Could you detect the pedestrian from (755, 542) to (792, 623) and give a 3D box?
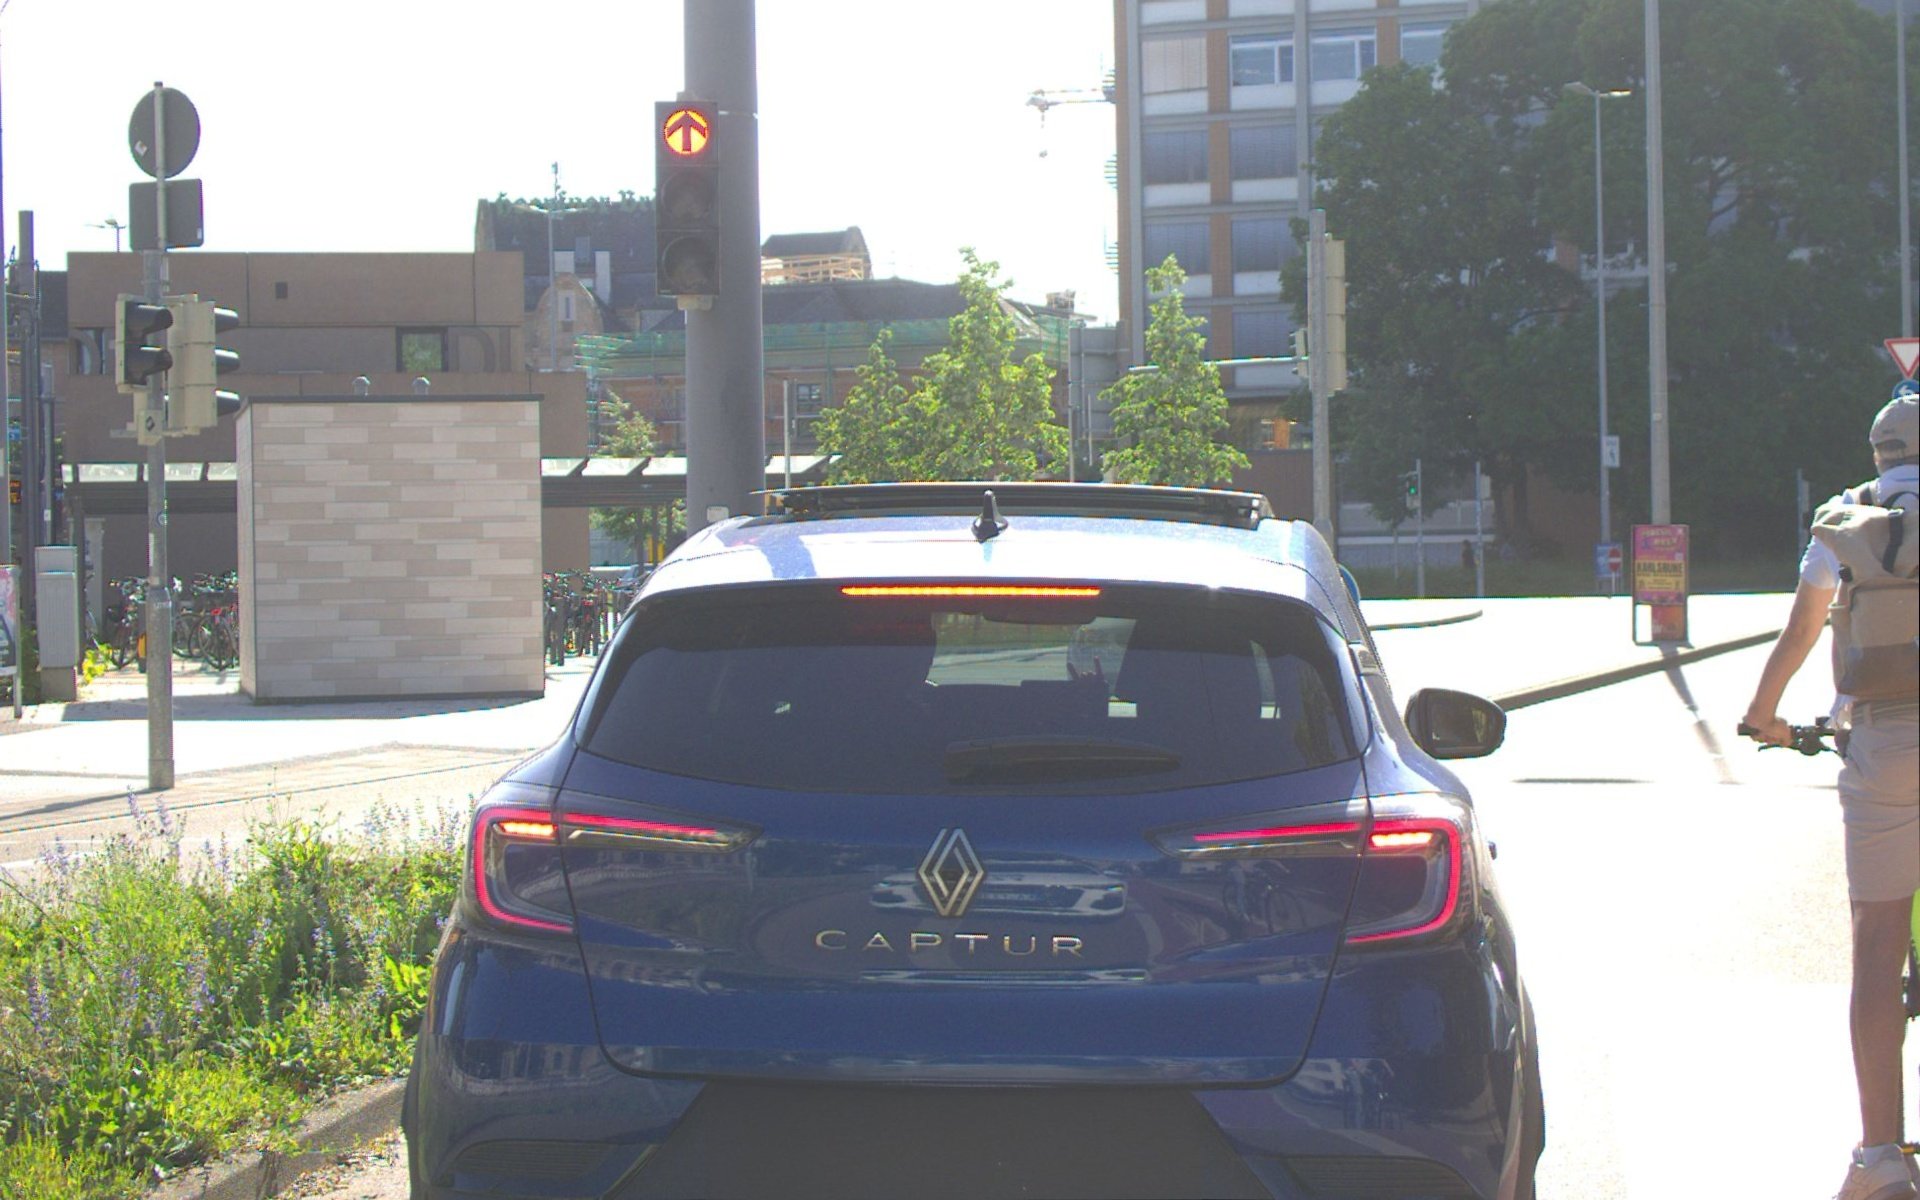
[{"bbox_3d":[-4.285,-0.402,79.119,0.726,1.850,0.702,0,0,8],"label":"pedestrian"}]

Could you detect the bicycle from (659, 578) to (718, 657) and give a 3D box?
[{"bbox_3d":[-3.412,0.217,43.115,0.580,0.958,2.059,0,0,-9],"label":"bicycle"}]

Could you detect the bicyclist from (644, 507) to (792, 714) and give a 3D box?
[{"bbox_3d":[-1.965,0.078,28.048,0.880,1.639,1.060,-1,0,14],"label":"bicyclist"}]

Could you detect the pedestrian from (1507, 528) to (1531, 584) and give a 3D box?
[{"bbox_3d":[16.733,-1.302,102.944,0.561,1.664,0.475,0,-1,37],"label":"pedestrian"}]

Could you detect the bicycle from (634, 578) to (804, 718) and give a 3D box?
[{"bbox_3d":[-1.942,0.370,28.045,0.773,1.077,2.034,-1,0,14],"label":"bicycle"}]

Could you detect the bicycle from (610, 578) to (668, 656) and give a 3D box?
[{"bbox_3d":[-4.024,0.214,43.027,0.580,0.958,2.059,0,0,-9],"label":"bicycle"}]

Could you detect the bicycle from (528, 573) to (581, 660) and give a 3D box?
[{"bbox_3d":[-5.041,0.209,42.652,0.580,1.054,1.817,0,0,-9],"label":"bicycle"}]

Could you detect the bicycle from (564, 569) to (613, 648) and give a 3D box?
[{"bbox_3d":[-5.264,0.123,48.686,0.580,1.084,2.059,0,0,-9],"label":"bicycle"}]

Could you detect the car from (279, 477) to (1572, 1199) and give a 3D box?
[{"bbox_3d":[0.097,0.600,6.677,1.823,1.594,3.658,1,1,5],"label":"car"}]

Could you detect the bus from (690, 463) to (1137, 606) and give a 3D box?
[{"bbox_3d":[-1.362,-1.549,86.823,12.434,3.384,2.876,0,0,40],"label":"bus"}]

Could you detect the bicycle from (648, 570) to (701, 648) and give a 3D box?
[{"bbox_3d":[-4.055,0.128,48.758,0.580,1.084,2.059,0,0,-9],"label":"bicycle"}]

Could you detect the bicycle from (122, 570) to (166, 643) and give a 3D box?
[{"bbox_3d":[-12.380,0.101,52.210,0.565,1.090,2.030,0,0,-11],"label":"bicycle"}]

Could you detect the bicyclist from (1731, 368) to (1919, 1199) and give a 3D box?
[{"bbox_3d":[2.115,0.378,7.660,0.664,1.741,1.005,0,1,7],"label":"bicyclist"}]

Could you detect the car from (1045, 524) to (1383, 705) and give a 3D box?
[{"bbox_3d":[2.301,0.089,30.142,1.802,1.388,4.089,-1,2,21],"label":"car"}]

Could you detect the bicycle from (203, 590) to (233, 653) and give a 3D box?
[{"bbox_3d":[-11.357,0.328,52.645,0.421,0.934,1.379,1,0,-11],"label":"bicycle"}]

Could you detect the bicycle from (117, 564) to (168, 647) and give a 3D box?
[{"bbox_3d":[-10.907,0.077,45.900,0.565,1.090,2.030,0,0,-11],"label":"bicycle"}]

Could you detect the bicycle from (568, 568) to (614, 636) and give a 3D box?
[{"bbox_3d":[-6.028,0.034,56.160,0.580,1.084,1.872,0,0,-11],"label":"bicycle"}]

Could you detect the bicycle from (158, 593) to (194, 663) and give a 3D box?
[{"bbox_3d":[-10.858,0.382,47.623,0.421,0.934,1.306,1,0,-15],"label":"bicycle"}]

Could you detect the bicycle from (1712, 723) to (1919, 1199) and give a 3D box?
[{"bbox_3d":[2.139,0.849,7.774,0.663,1.043,1.890,0,1,6],"label":"bicycle"}]
